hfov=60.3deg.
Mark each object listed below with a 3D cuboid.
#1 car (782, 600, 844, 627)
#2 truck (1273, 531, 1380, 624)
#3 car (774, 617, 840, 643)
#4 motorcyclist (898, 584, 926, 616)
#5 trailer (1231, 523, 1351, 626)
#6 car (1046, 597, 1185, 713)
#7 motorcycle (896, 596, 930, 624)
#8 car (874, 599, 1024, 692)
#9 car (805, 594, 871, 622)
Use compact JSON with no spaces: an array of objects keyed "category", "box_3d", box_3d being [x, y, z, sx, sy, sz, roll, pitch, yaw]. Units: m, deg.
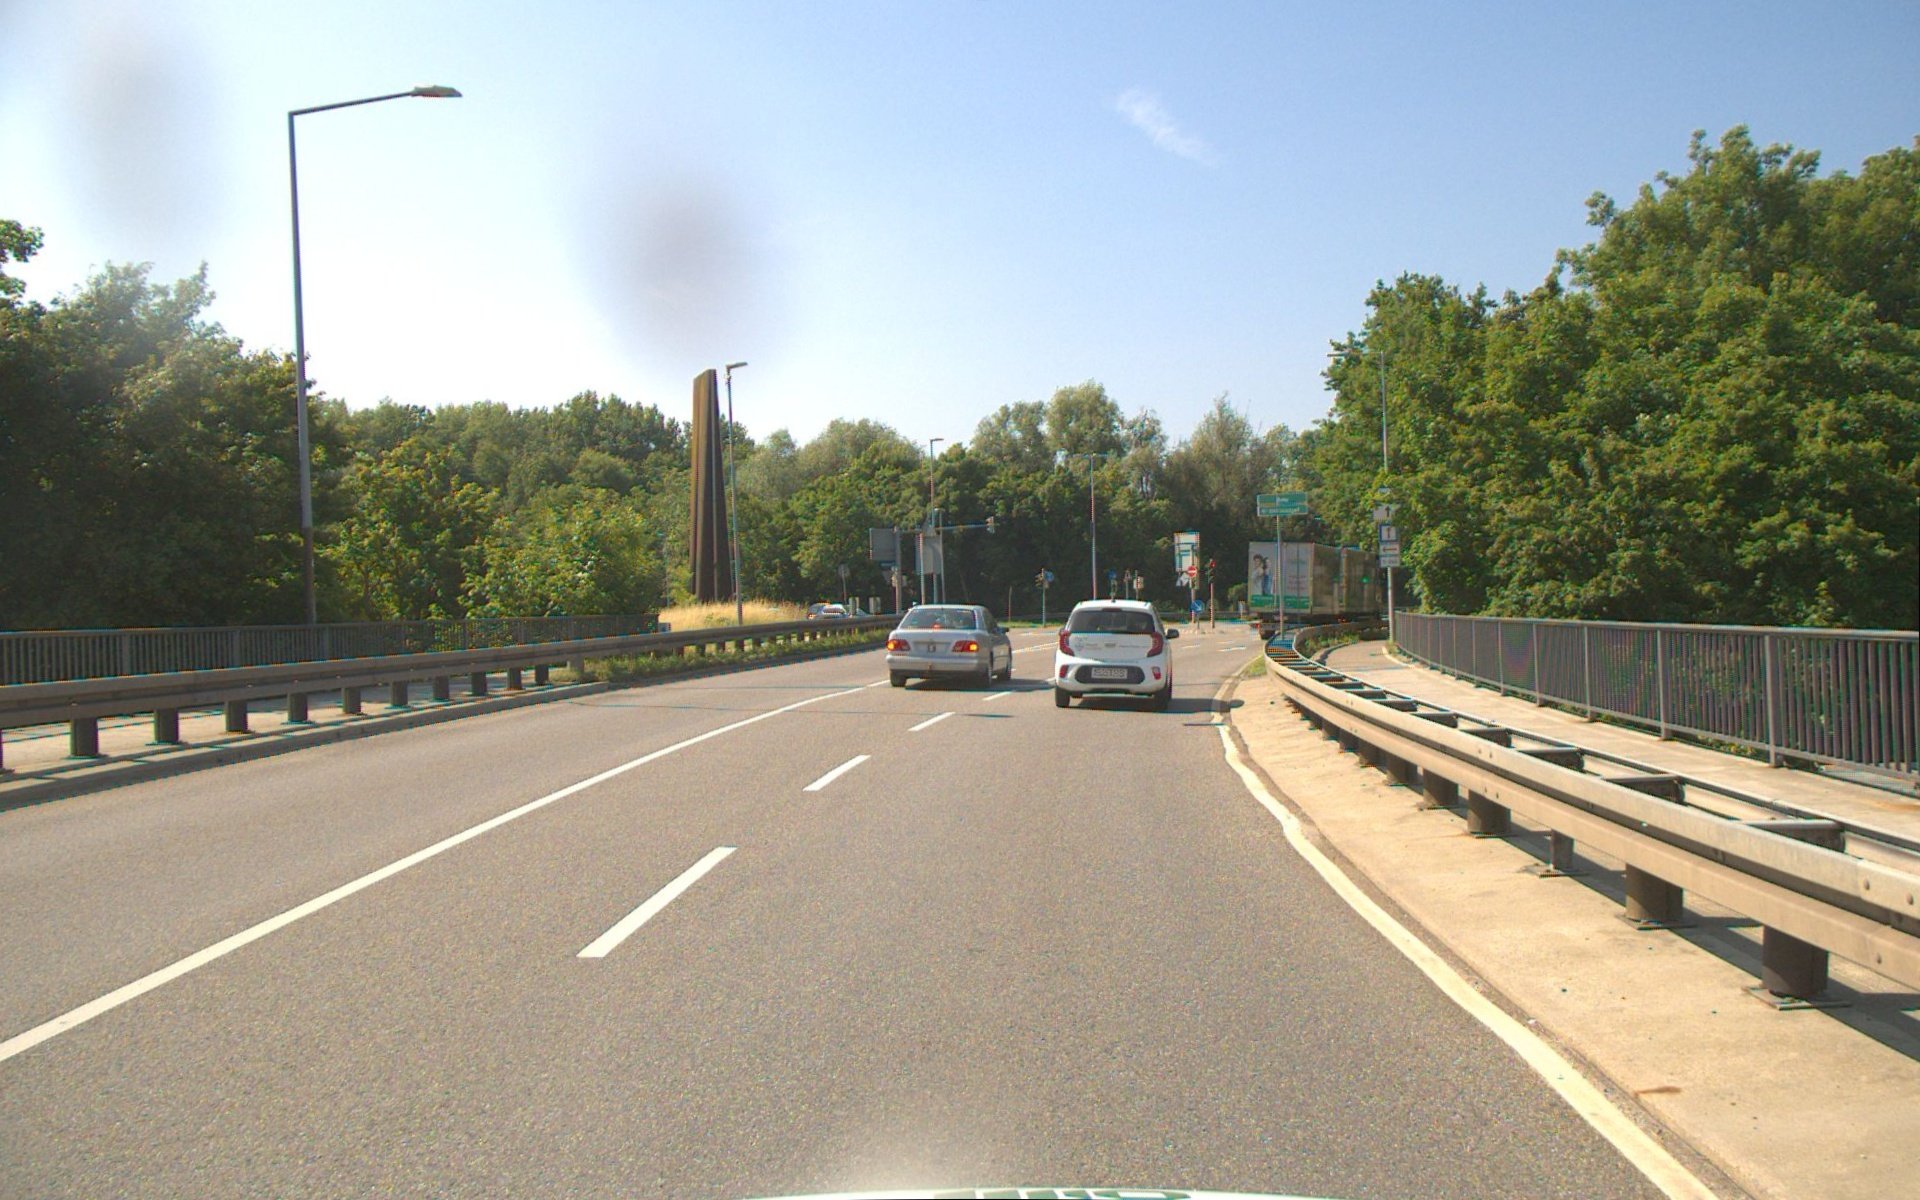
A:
[{"category":"car","box_3d":[-9.277,0.869,104.292,3.929,1.413,1.756,-5,-5,42]},{"category":"truck","box_3d":[16.418,-0.934,73.600,3.194,3.824,8.369,2,1,22]},{"category":"car","box_3d":[-9.747,1.939,105.540,3.929,1.413,2.110,-5,-5,42]},{"category":"motorcyclist","box_3d":[-2.930,0.022,100.843,1.437,1.903,0.888,-1,-2,40]},{"category":"trailer","box_3d":[13.363,-0.968,66.177,3.159,3.824,7.823,2,1,22]},{"category":"car","box_3d":[2.366,0.754,24.388,1.665,1.520,4.003,1,0,10]},{"category":"motorcycle","box_3d":[-2.890,0.616,100.797,1.946,1.556,0.894,-5,-4,40]},{"category":"car","box_3d":[-0.097,0.742,29.605,1.897,1.512,4.904,0,0,9]},{"category":"car","box_3d":[-7.259,0.509,98.321,3.929,1.413,1.691,-5,-5,42]}]
